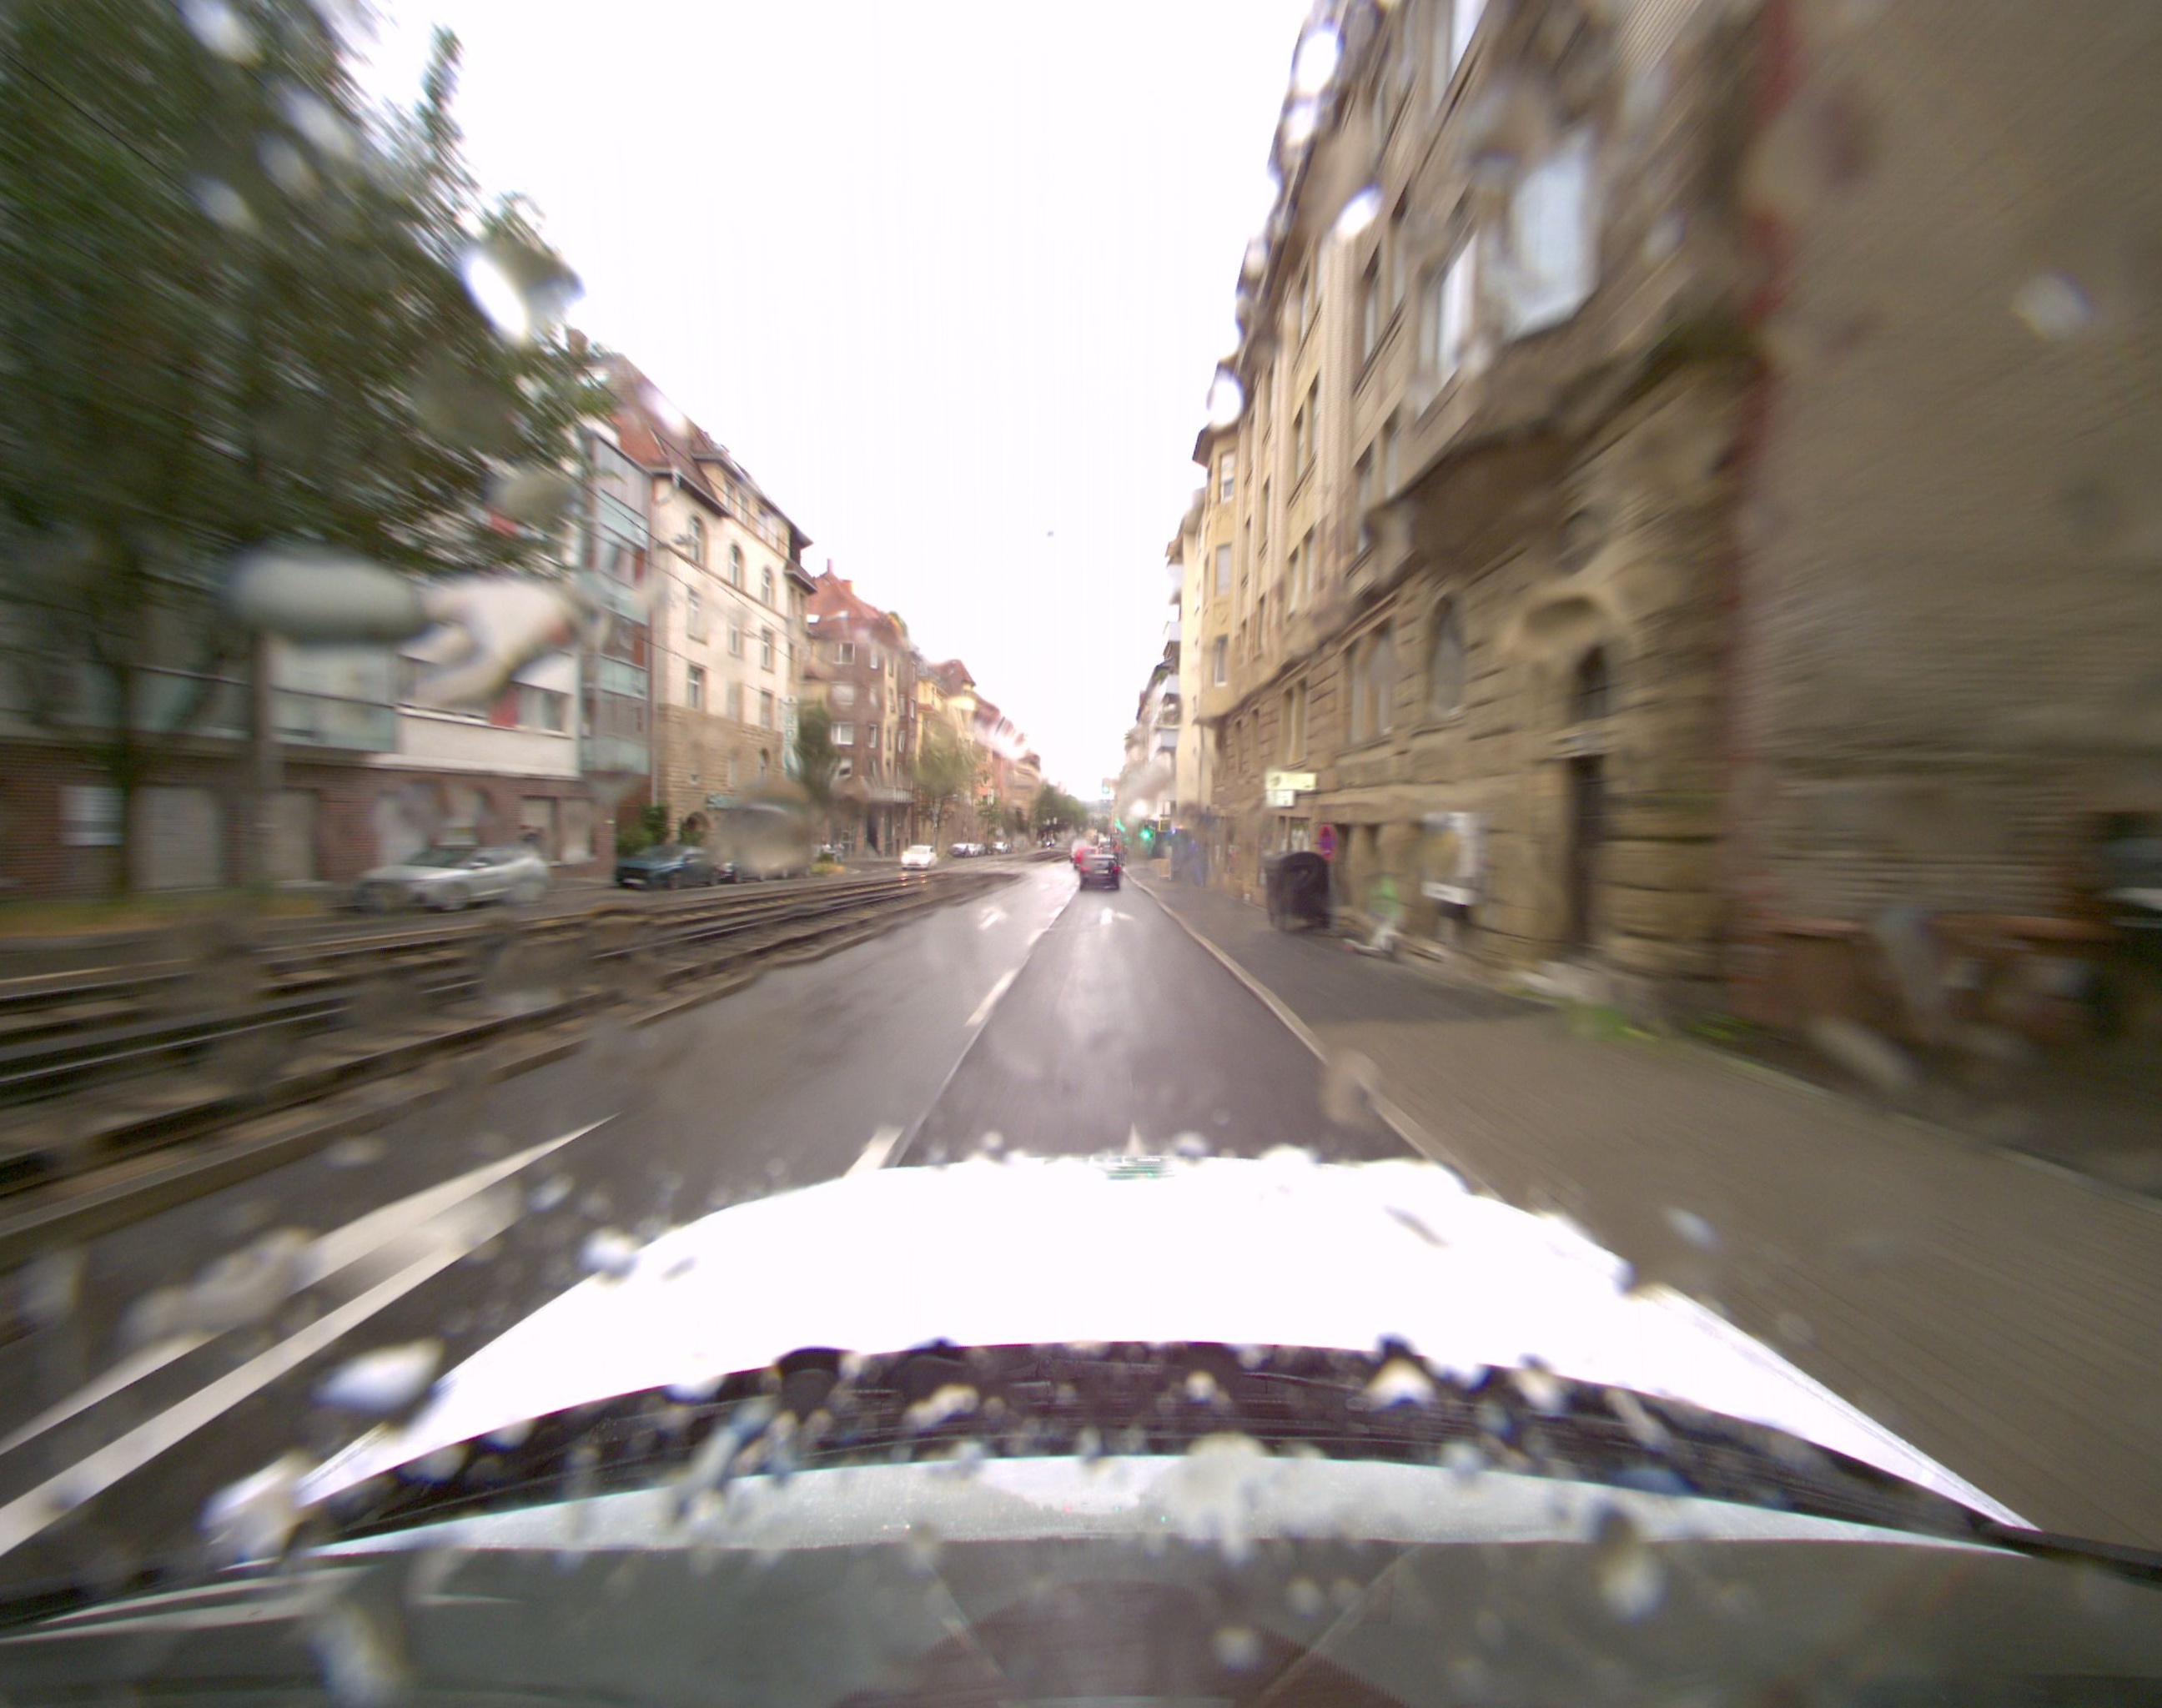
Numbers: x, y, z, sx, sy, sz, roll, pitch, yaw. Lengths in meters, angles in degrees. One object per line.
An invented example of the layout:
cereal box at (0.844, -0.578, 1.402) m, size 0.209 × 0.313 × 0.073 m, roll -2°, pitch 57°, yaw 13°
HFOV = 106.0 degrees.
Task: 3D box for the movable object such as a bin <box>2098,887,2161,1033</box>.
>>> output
movable object such as a bin at (7.875, 0.758, 5.838) m, size 0.500 × 1.014 × 0.530 m, roll 1°, pitch 0°, yaw -2°

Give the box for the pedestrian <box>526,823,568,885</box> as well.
pedestrian at (-15.897, 0.000, 24.269) m, size 0.671 × 1.772 × 0.783 m, roll 2°, pitch 0°, yaw 1°

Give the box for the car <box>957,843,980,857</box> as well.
car at (-12.196, -0.417, 88.320) m, size 1.660 × 1.426 × 4.266 m, roll 2°, pitch 0°, yaw 3°

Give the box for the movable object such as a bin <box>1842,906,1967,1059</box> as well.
movable object such as a bin at (5.992, 0.911, 5.949) m, size 0.497 × 1.014 × 0.442 m, roll 1°, pitch 0°, yaw 21°

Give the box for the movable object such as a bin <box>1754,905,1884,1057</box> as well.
movable object such as a bin at (5.330, 0.901, 5.905) m, size 0.499 × 1.014 × 0.476 m, roll 1°, pitch 0°, yaw -1°

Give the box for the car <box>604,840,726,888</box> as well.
car at (-13.896, 0.306, 27.509) m, size 1.795 × 1.455 × 4.431 m, roll 1°, pitch 0°, yaw 0°

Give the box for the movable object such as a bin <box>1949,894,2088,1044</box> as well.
movable object such as a bin at (6.778, 0.815, 5.901) m, size 0.500 × 1.014 × 0.440 m, roll 1°, pitch 0°, yaw -2°

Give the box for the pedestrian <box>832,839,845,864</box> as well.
pedestrian at (-15.036, -0.163, 50.519) m, size 0.514 × 1.570 × 0.644 m, roll 1°, pitch -1°, yaw 5°

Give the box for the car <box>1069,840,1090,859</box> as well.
car at (-0.154, -0.426, 77.891) m, size 1.915 × 1.655 × 3.999 m, roll 2°, pitch 0°, yaw -1°

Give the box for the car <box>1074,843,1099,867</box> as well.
car at (0.411, 0.035, 56.619) m, size 1.530 × 1.510 × 4.002 m, roll 2°, pitch 2°, yaw 2°

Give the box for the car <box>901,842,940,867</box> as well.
car at (-10.271, 0.014, 52.273) m, size 1.620 × 1.482 × 3.583 m, roll 1°, pitch 0°, yaw 2°

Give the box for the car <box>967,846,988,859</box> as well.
car at (-11.840, -0.223, 93.696) m, size 1.554 × 1.438 × 4.151 m, roll 1°, pitch 0°, yaw 4°

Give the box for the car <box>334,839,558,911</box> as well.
car at (-14.202, 0.425, 18.573) m, size 1.696 × 1.335 × 4.132 m, roll 4°, pitch 0°, yaw 2°

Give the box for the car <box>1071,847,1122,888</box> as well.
car at (0.619, 0.526, 33.377) m, size 1.939 × 1.564 × 3.643 m, roll 1°, pitch 0°, yaw 0°

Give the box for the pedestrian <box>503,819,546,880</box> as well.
pedestrian at (-16.602, -0.125, 24.294) m, size 0.671 × 1.772 × 0.783 m, roll 2°, pitch 0°, yaw 1°

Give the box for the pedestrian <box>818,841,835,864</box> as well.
pedestrian at (-15.803, -0.109, 50.564) m, size 0.751 × 1.422 × 0.646 m, roll 1°, pitch 0°, yaw 4°

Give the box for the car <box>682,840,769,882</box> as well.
car at (-13.897, 0.243, 32.060) m, size 1.801 × 1.498 × 3.526 m, roll 2°, pitch 0°, yaw 0°

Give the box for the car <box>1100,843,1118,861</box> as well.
car at (2.905, -0.192, 85.933) m, size 1.762 × 1.808 × 4.484 m, roll 2°, pitch 1°, yaw 2°

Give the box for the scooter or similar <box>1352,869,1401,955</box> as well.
scooter or similar at (3.959, 0.757, 10.955) m, size 0.209 × 1.112 × 0.889 m, roll 0°, pitch -1°, yaw -8°

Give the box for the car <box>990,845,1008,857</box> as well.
car at (-11.381, -0.381, 113.377) m, size 1.776 × 1.589 × 4.356 m, roll 1°, pitch 0°, yaw 4°

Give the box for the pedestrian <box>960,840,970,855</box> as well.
pedestrian at (-14.155, -0.784, 99.072) m, size 1.003 × 1.753 × 0.925 m, roll 2°, pitch 1°, yaw 2°

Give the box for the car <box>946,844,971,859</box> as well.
car at (-12.498, -0.256, 83.286) m, size 1.758 × 1.486 × 4.002 m, roll 1°, pitch 0°, yaw 2°

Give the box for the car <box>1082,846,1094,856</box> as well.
car at (1.100, -0.447, 128.503) m, size 1.895 × 1.593 × 4.001 m, roll 1°, pitch 0°, yaw 1°

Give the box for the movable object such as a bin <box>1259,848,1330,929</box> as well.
movable object such as a bin at (4.026, 0.628, 15.504) m, size 1.005 × 1.451 × 1.394 m, roll -1°, pitch 0°, yaw 1°

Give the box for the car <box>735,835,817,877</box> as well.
car at (-13.845, 0.089, 37.184) m, size 1.876 × 1.727 × 3.748 m, roll 4°, pitch 0°, yaw 7°

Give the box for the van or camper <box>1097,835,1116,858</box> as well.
van or camper at (2.974, -0.858, 94.288) m, size 2.056 × 2.469 × 6.121 m, roll 1°, pitch 0°, yaw 2°
